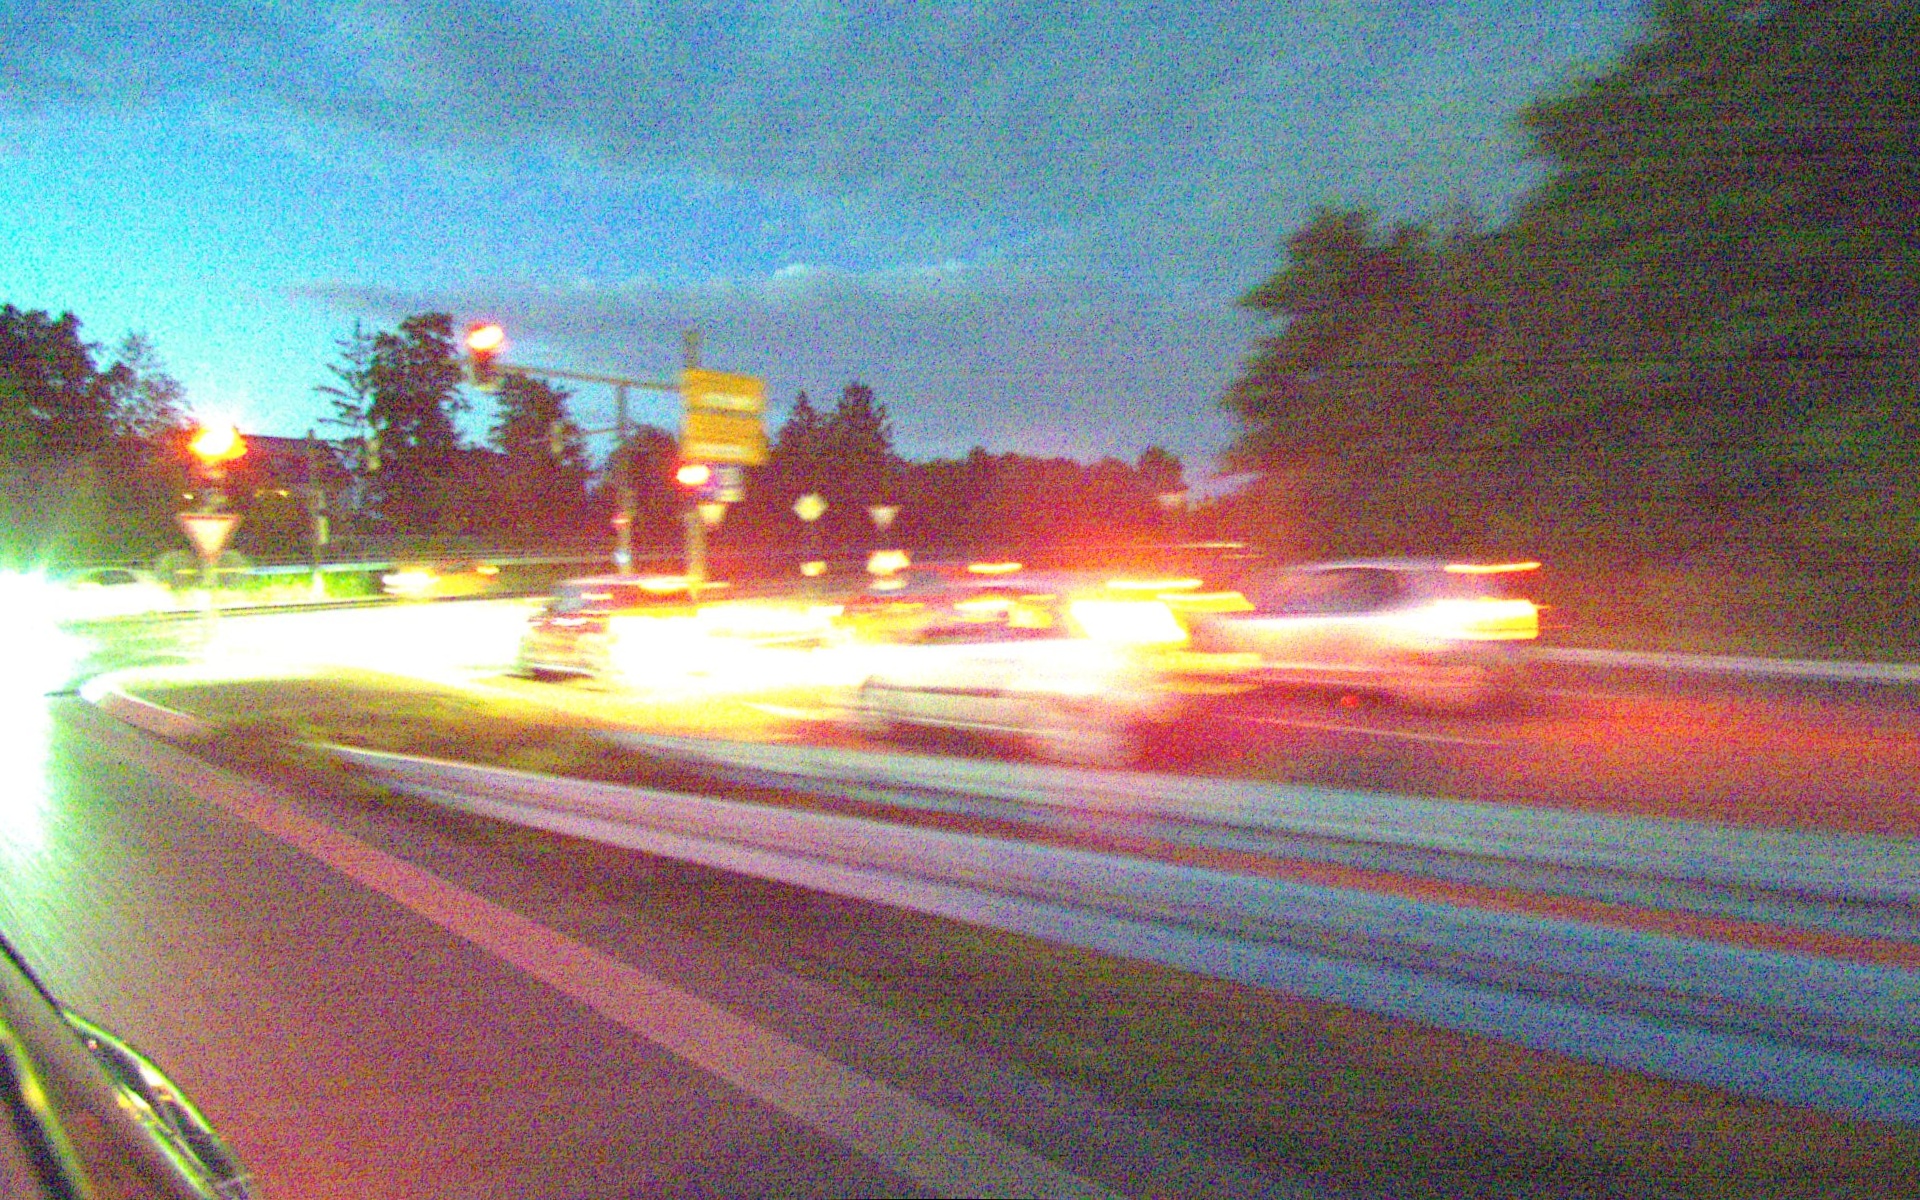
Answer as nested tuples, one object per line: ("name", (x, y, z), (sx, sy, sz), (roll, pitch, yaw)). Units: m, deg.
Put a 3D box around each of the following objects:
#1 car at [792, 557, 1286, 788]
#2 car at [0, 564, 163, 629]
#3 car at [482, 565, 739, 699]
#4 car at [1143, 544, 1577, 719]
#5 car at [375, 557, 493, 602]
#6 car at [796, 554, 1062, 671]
("car", (0.482, 0.458, 8.564), (3.987, 1.455, 1.691), (0, 3, 45))
("car", (-22.844, -0.126, 25.609), (1.742, 1.470, 4.185), (-2, 2, 6))
("car", (-4.897, 0.313, 13.932), (3.871, 1.485, 1.681), (3, 6, 43))
("car", (3.959, 0.219, 10.412), (3.814, 1.470, 1.665), (1, 2, 45))
("car", (-19.262, -0.766, 37.164), (1.655, 1.461, 3.448), (-1, 3, 36))
("car", (-0.567, 0.103, 15.424), (4.002, 1.471, 1.735), (2, 6, 44))
